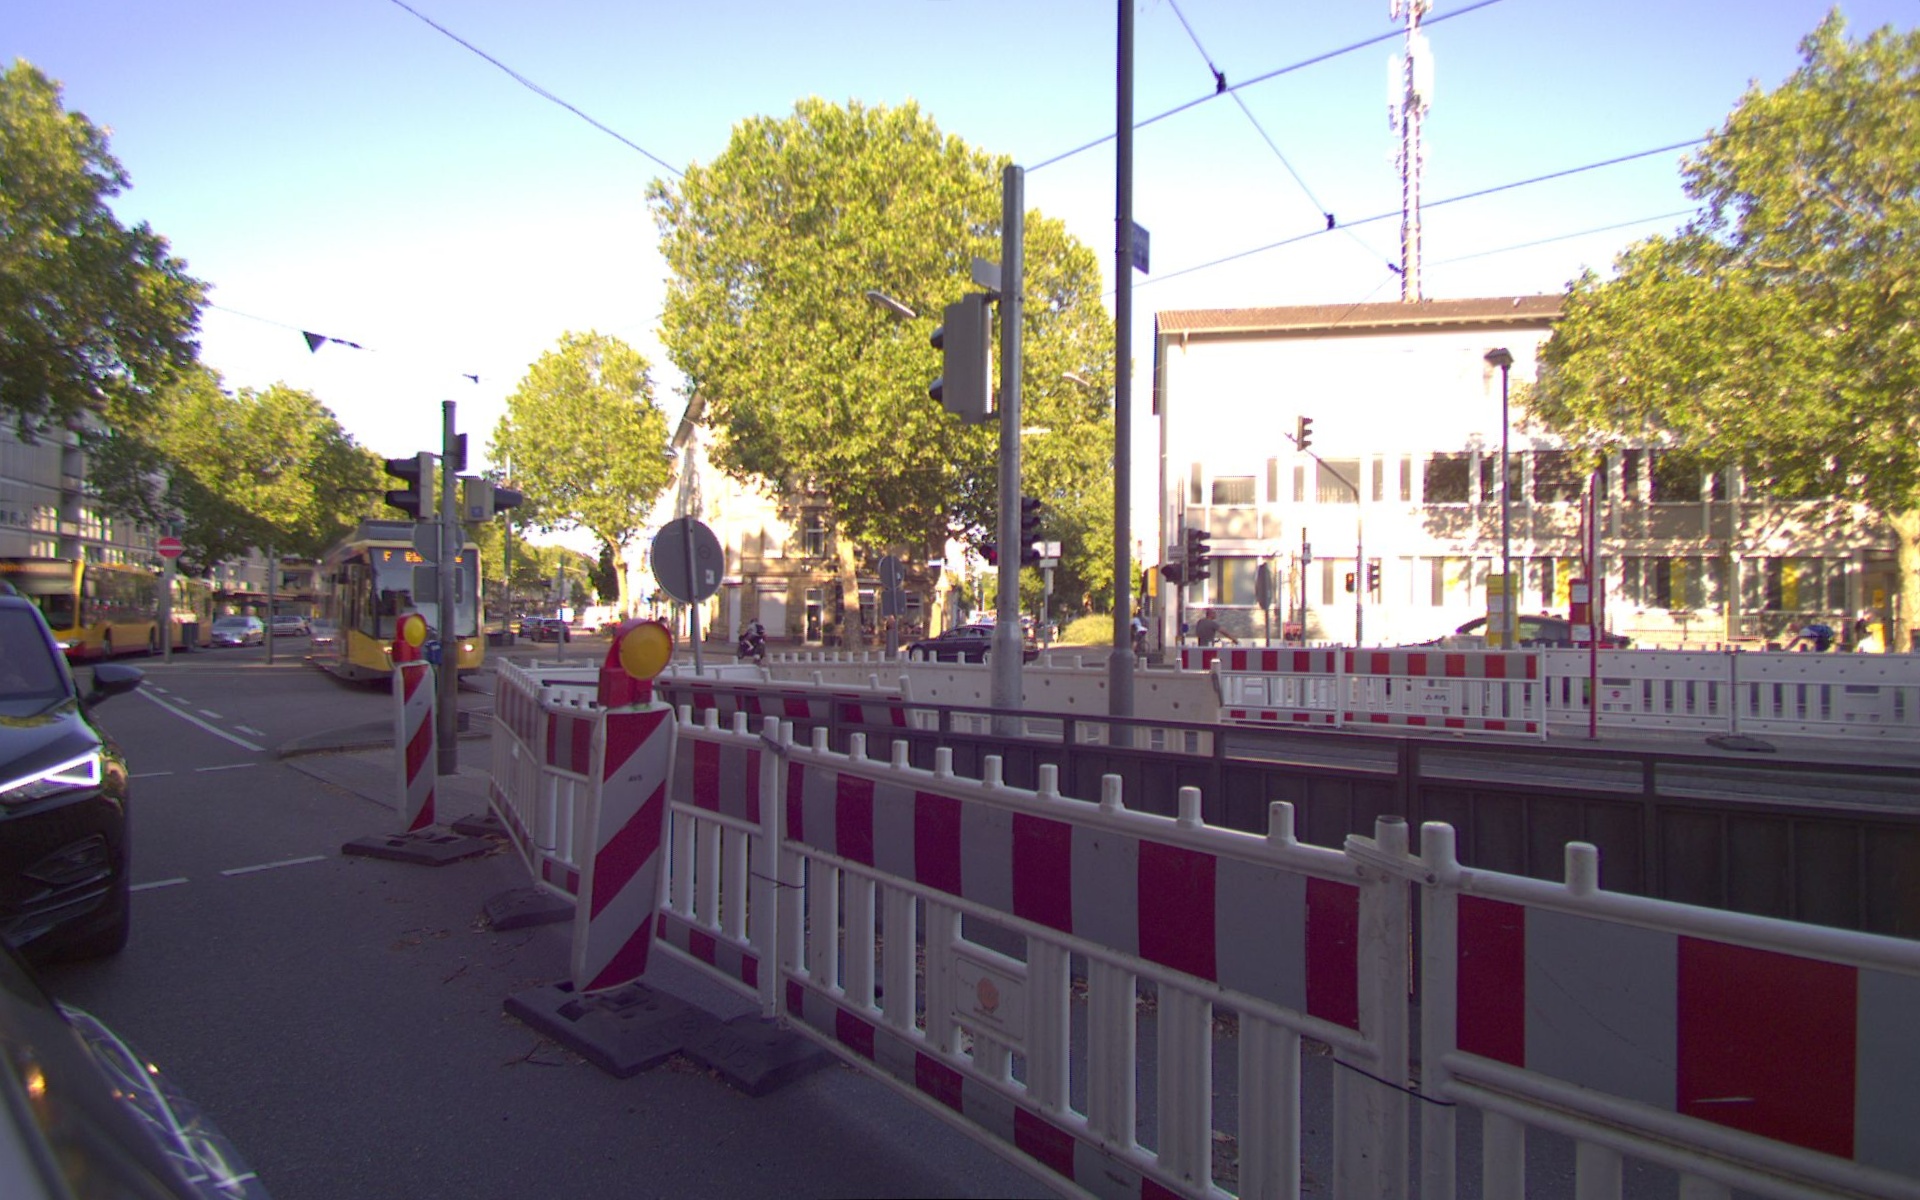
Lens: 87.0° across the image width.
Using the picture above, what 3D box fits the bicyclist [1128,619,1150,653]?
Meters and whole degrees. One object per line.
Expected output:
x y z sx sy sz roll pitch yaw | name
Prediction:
6.327 1.251 35.708 0.405 1.182 0.664 1 -2 -35 | bicyclist

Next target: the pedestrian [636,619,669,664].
-10.461 1.410 34.460 0.794 1.520 0.794 0 -2 12 | pedestrian

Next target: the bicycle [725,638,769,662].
-8.217 1.912 39.016 1.796 0.869 0.555 -1 -2 34 | bicycle

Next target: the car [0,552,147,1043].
-5.161 0.705 4.587 4.300 1.670 1.823 -1 -1 45 | car

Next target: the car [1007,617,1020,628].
7.130 3.021 134.652 1.705 1.505 3.994 0 -1 4 | car

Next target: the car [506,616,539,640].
-31.478 2.050 72.920 1.920 1.667 4.705 1 -2 -21 | car

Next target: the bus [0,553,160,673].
-26.962 0.429 30.657 2.707 3.127 9.526 1 -2 -29 | bus

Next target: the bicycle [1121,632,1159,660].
6.332 1.617 35.697 0.405 0.974 1.466 1 -2 -34 | bicycle

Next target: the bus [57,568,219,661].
-31.323 0.608 39.033 2.707 3.127 9.527 1 -2 -26 | bus

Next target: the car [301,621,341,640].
-52.347 2.504 82.913 1.201 1.484 2.592 0 -1 43 | car

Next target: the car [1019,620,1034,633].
7.908 3.187 120.624 1.705 1.505 3.994 0 -1 4 | car

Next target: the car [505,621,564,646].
-25.900 2.058 61.542 1.969 1.459 4.544 2 -3 -41 | car

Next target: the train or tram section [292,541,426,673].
-19.146 0.274 31.848 2.797 3.514 10.364 1 -1 -35 | train or tram section

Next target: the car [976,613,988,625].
3.698 3.280 171.201 1.828 2.031 3.994 0 -1 4 | car

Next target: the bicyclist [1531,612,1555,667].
14.951 1.005 25.961 0.463 1.407 0.457 -1 -2 36 | bicyclist

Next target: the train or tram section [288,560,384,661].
-25.061 0.452 40.354 2.832 3.514 10.365 1 -1 -34 | train or tram section

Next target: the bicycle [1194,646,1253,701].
5.030 1.384 19.282 1.558 0.973 0.322 1 -2 -44 | bicycle

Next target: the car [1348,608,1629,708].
10.028 1.027 19.355 4.576 1.679 1.878 -1 0 35 | car

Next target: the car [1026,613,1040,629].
9.803 2.843 135.695 1.828 2.160 3.994 0 -1 4 | car

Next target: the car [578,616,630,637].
-34.041 2.501 96.893 1.895 1.991 4.604 -1 -2 29 | car

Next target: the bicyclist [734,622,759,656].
-8.228 1.484 39.037 0.803 1.304 0.555 -1 -2 34 | bicyclist

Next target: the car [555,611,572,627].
-54.496 2.659 139.174 2.131 2.138 4.994 2 -2 -20 | car

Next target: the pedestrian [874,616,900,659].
-3.116 1.589 43.066 0.801 1.769 0.787 -1 -2 41 | pedestrian

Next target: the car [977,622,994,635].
2.904 3.229 115.104 1.705 1.505 3.994 0 -1 4 | car

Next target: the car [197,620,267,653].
-35.574 1.736 49.565 1.880 1.486 4.433 1 -1 -24 | car

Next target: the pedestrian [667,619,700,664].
-9.475 1.399 34.649 0.795 1.520 0.793 0 -2 17 | pedestrian

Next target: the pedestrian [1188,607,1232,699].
4.890 1.022 19.811 0.588 1.772 0.597 1 -2 -43 | pedestrian

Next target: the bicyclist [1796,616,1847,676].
19.239 1.016 22.613 0.807 1.307 0.457 -1 -2 36 | bicyclist

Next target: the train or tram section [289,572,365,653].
-30.745 0.624 48.989 2.797 3.514 10.366 1 -1 -33 | train or tram section

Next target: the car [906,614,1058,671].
0.661 1.304 32.385 4.576 1.679 1.878 -1 0 35 | car

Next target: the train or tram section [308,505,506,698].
-13.107 0.116 23.389 2.779 3.514 10.363 1 -1 -35 | train or tram section

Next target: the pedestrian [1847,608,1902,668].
27.085 1.114 30.000 0.876 1.742 0.805 0 -2 11 | pedestrian

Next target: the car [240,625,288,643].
-50.887 2.484 74.021 1.198 1.226 2.599 0 -1 34 | car

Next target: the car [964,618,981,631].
1.481 2.872 120.179 1.705 1.505 3.994 0 -1 4 | car

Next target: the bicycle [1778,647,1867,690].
19.231 1.517 22.610 1.463 0.902 0.457 -1 -2 37 | bicycle
